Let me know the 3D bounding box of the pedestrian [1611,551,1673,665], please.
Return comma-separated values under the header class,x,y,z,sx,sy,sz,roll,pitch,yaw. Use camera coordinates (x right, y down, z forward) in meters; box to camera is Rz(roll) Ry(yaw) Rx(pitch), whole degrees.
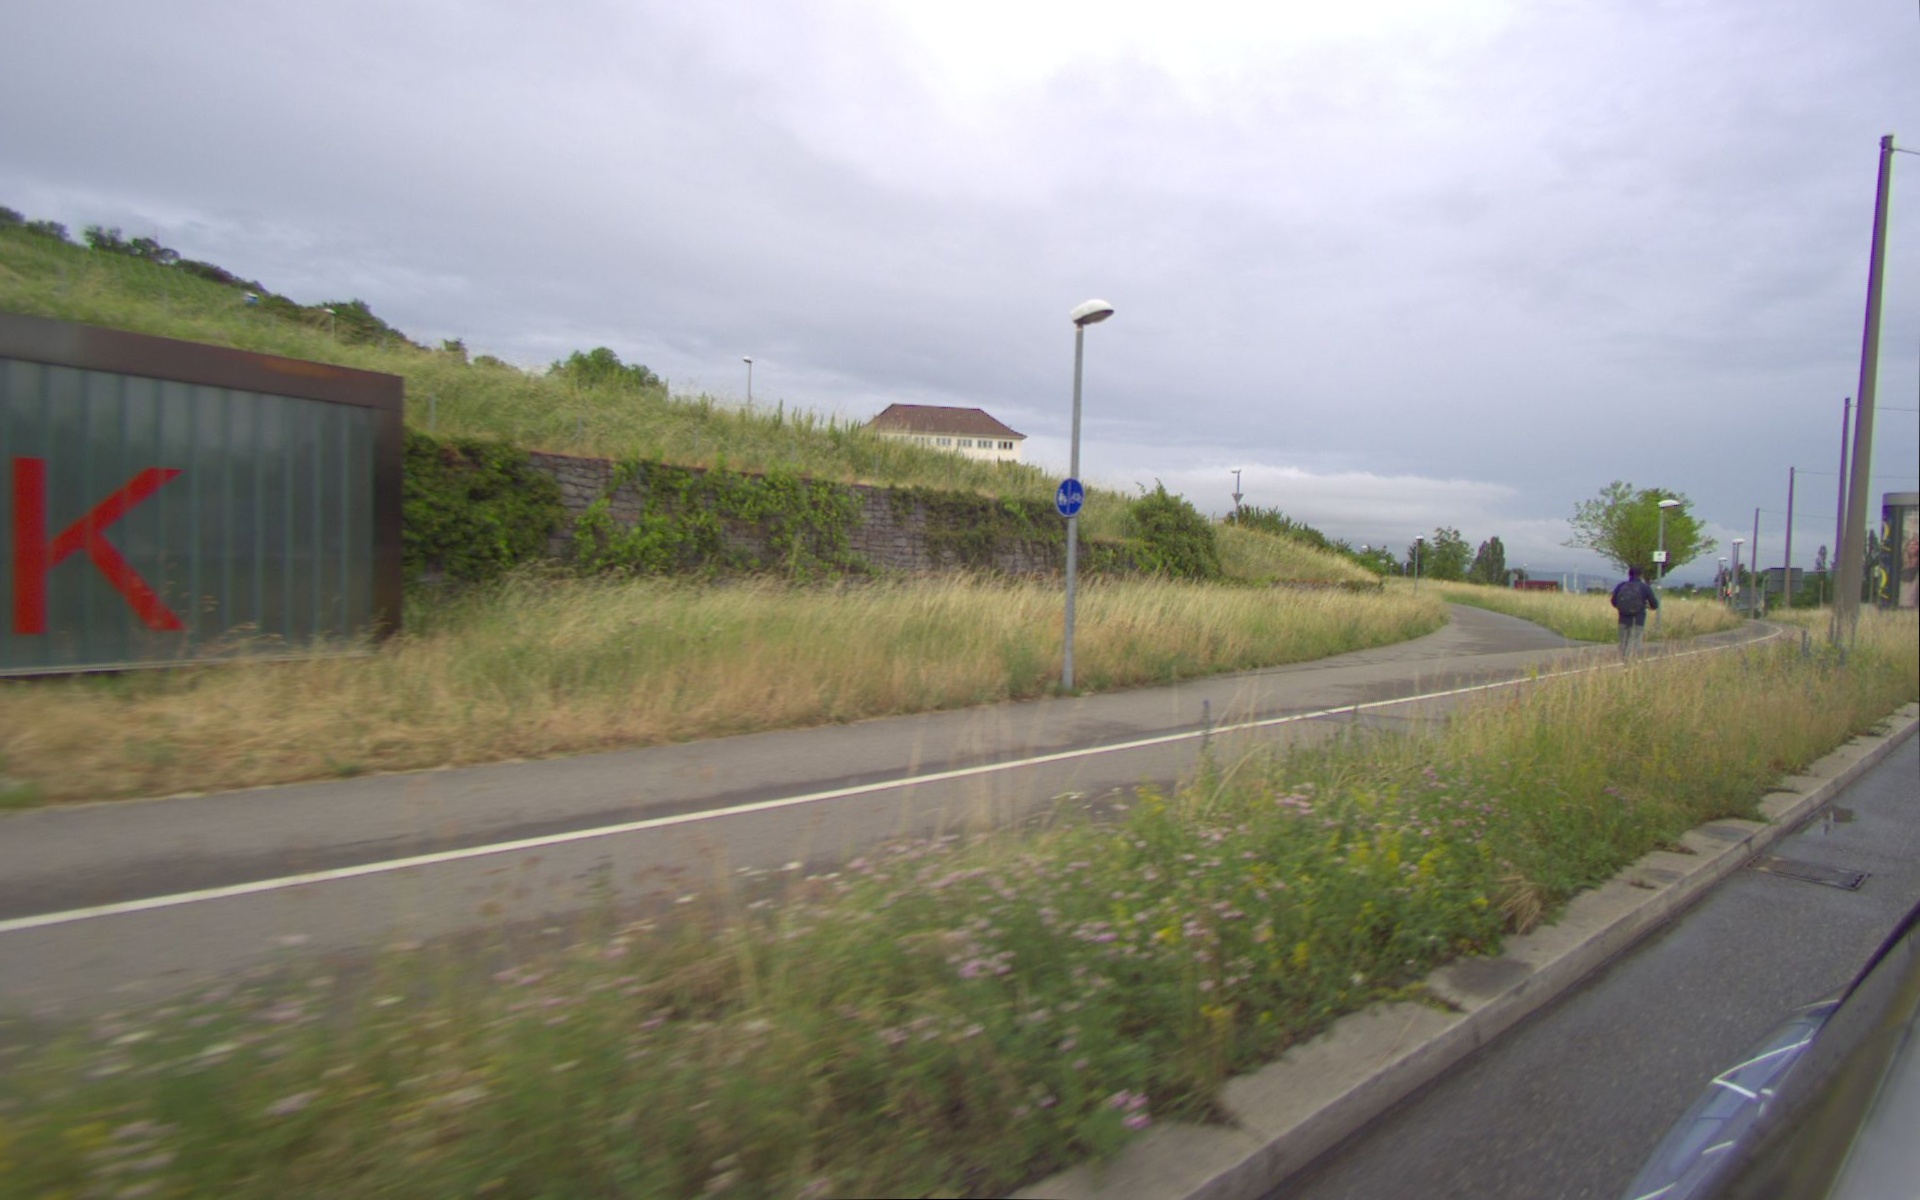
class,x,y,z,sx,sy,sz,roll,pitch,yaw
pedestrian,10.869,0.115,16.147,0.795,1.745,0.977,0,0,34
